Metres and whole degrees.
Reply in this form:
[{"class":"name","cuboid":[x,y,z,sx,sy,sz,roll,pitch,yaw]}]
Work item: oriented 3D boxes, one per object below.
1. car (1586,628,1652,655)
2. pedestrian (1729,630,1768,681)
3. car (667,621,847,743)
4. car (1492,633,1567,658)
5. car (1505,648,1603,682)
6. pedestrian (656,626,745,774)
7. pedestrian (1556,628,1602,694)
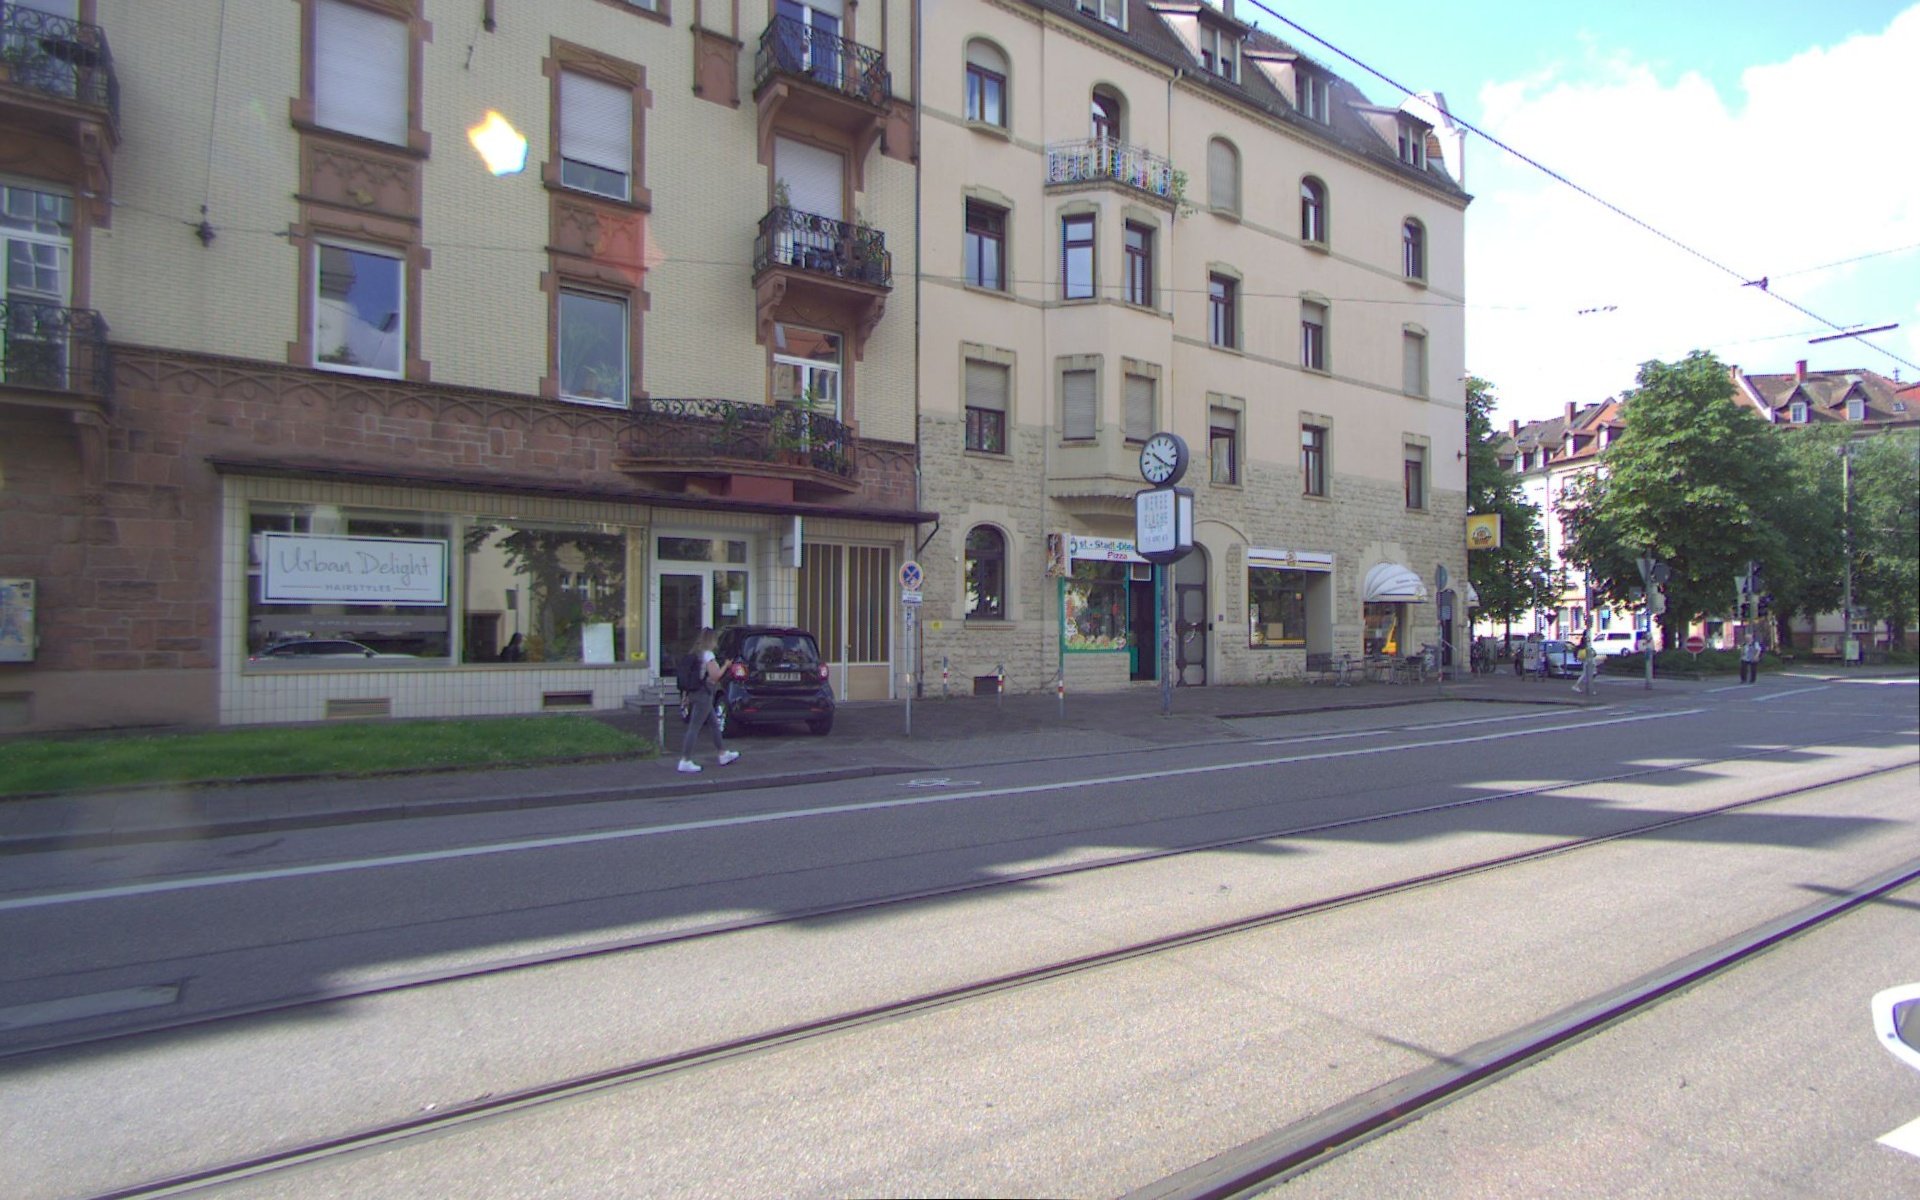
[{"class":"car","cuboid":[48.652,3.021,74.233,1.962,1.929,3.997,0,-2,-6]},{"class":"pedestrian","cuboid":[27.111,1.895,34.538,0.709,1.728,0.819,1,-2,-25]},{"class":"car","cuboid":[-3.155,1.143,15.198,1.716,1.505,3.162,1,1,-30]},{"class":"car","cuboid":[38.511,3.070,67.970,1.976,1.617,3.970,1,-2,-29]},{"class":"car","cuboid":[22.920,2.478,38.912,1.645,1.198,4.002,0,-2,4]},{"class":"pedestrian","cuboid":[-2.965,1.106,11.445,0.757,1.562,0.752,1,2,-32]},{"class":"pedestrian","cuboid":[16.869,1.643,27.384,0.788,1.777,0.683,1,-2,-16]}]
